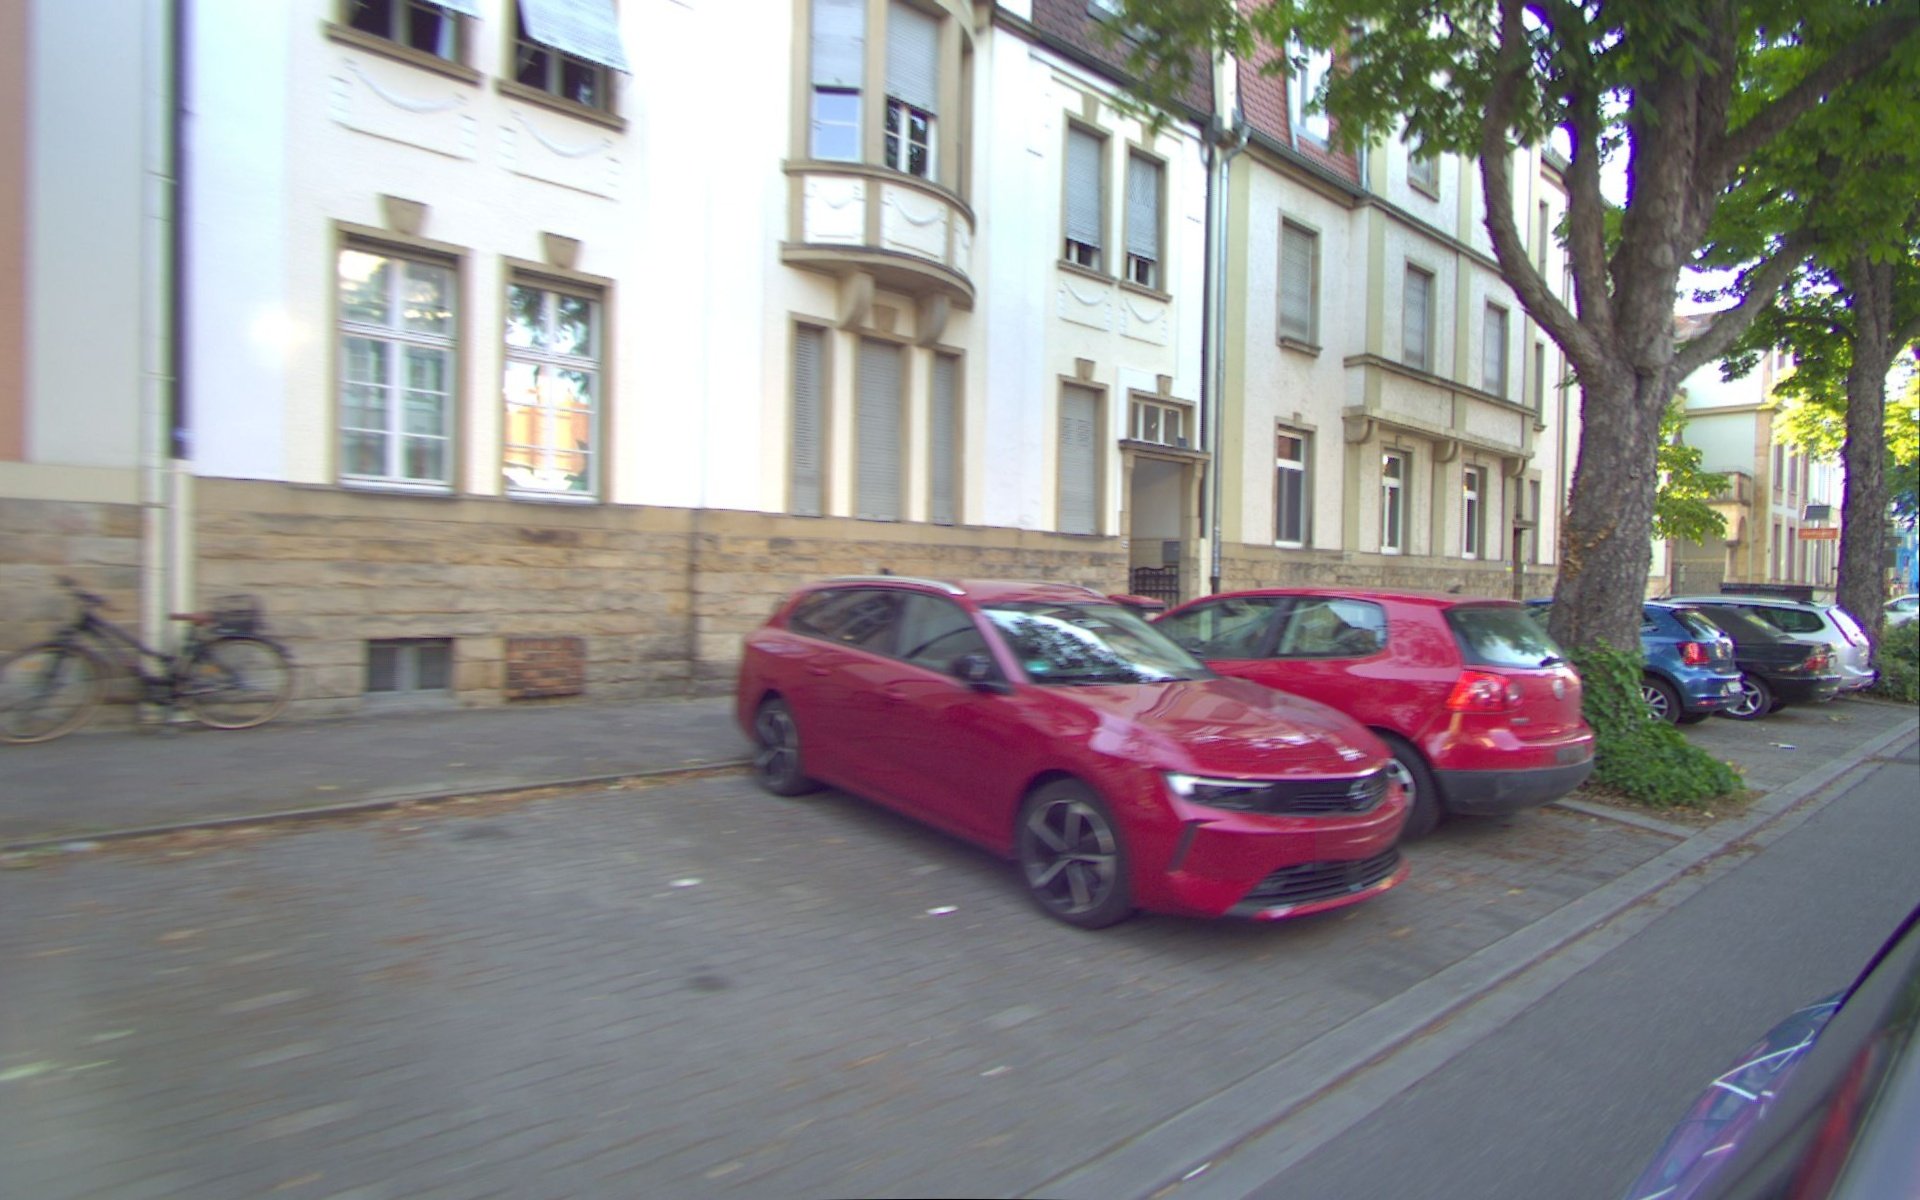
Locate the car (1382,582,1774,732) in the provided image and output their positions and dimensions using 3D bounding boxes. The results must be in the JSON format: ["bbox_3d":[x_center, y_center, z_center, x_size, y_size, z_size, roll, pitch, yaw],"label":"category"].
[{"bbox_3d":[7.369,0.557,12.373,1.533,1.501,3.801,0,2,-40],"label":"car"}]

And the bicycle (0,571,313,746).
[{"bbox_3d":[-5.629,0.360,6.886,2.010,1.069,0.475,0,3,-42],"label":"bicycle"}]

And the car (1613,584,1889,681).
[{"bbox_3d":[14.536,0.514,18.729,1.720,1.455,3.797,0,3,-44],"label":"car"}]

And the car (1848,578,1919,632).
[{"bbox_3d":[35.052,0.228,36.467,1.965,1.829,4.324,0,3,-40],"label":"car"}]

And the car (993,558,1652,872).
[{"bbox_3d":[2.291,0.523,7.420,1.817,1.493,4.203,0,3,-38],"label":"car"}]

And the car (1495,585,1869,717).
[{"bbox_3d":[9.600,0.561,13.689,1.785,1.455,3.801,0,2,-40],"label":"car"}]

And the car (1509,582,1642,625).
[{"bbox_3d":[24.192,0.108,39.877,1.626,1.494,4.165,2,0,-41],"label":"car"}]

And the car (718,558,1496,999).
[{"bbox_3d":[0.389,0.559,5.888,1.842,1.436,4.425,0,4,-38],"label":"car"}]

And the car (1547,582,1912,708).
[{"bbox_3d":[11.520,0.560,15.398,1.682,1.596,4.155,0,2,-40],"label":"car"}]

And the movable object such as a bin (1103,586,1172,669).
[{"bbox_3d":[2.438,0.368,13.935,0.532,1.062,0.702,1,4,-41],"label":"movable object such as a bin"}]

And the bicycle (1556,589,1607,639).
[{"bbox_3d":[15.689,0.342,25.529,1.924,1.227,0.585,0,1,-43],"label":"bicycle"}]
